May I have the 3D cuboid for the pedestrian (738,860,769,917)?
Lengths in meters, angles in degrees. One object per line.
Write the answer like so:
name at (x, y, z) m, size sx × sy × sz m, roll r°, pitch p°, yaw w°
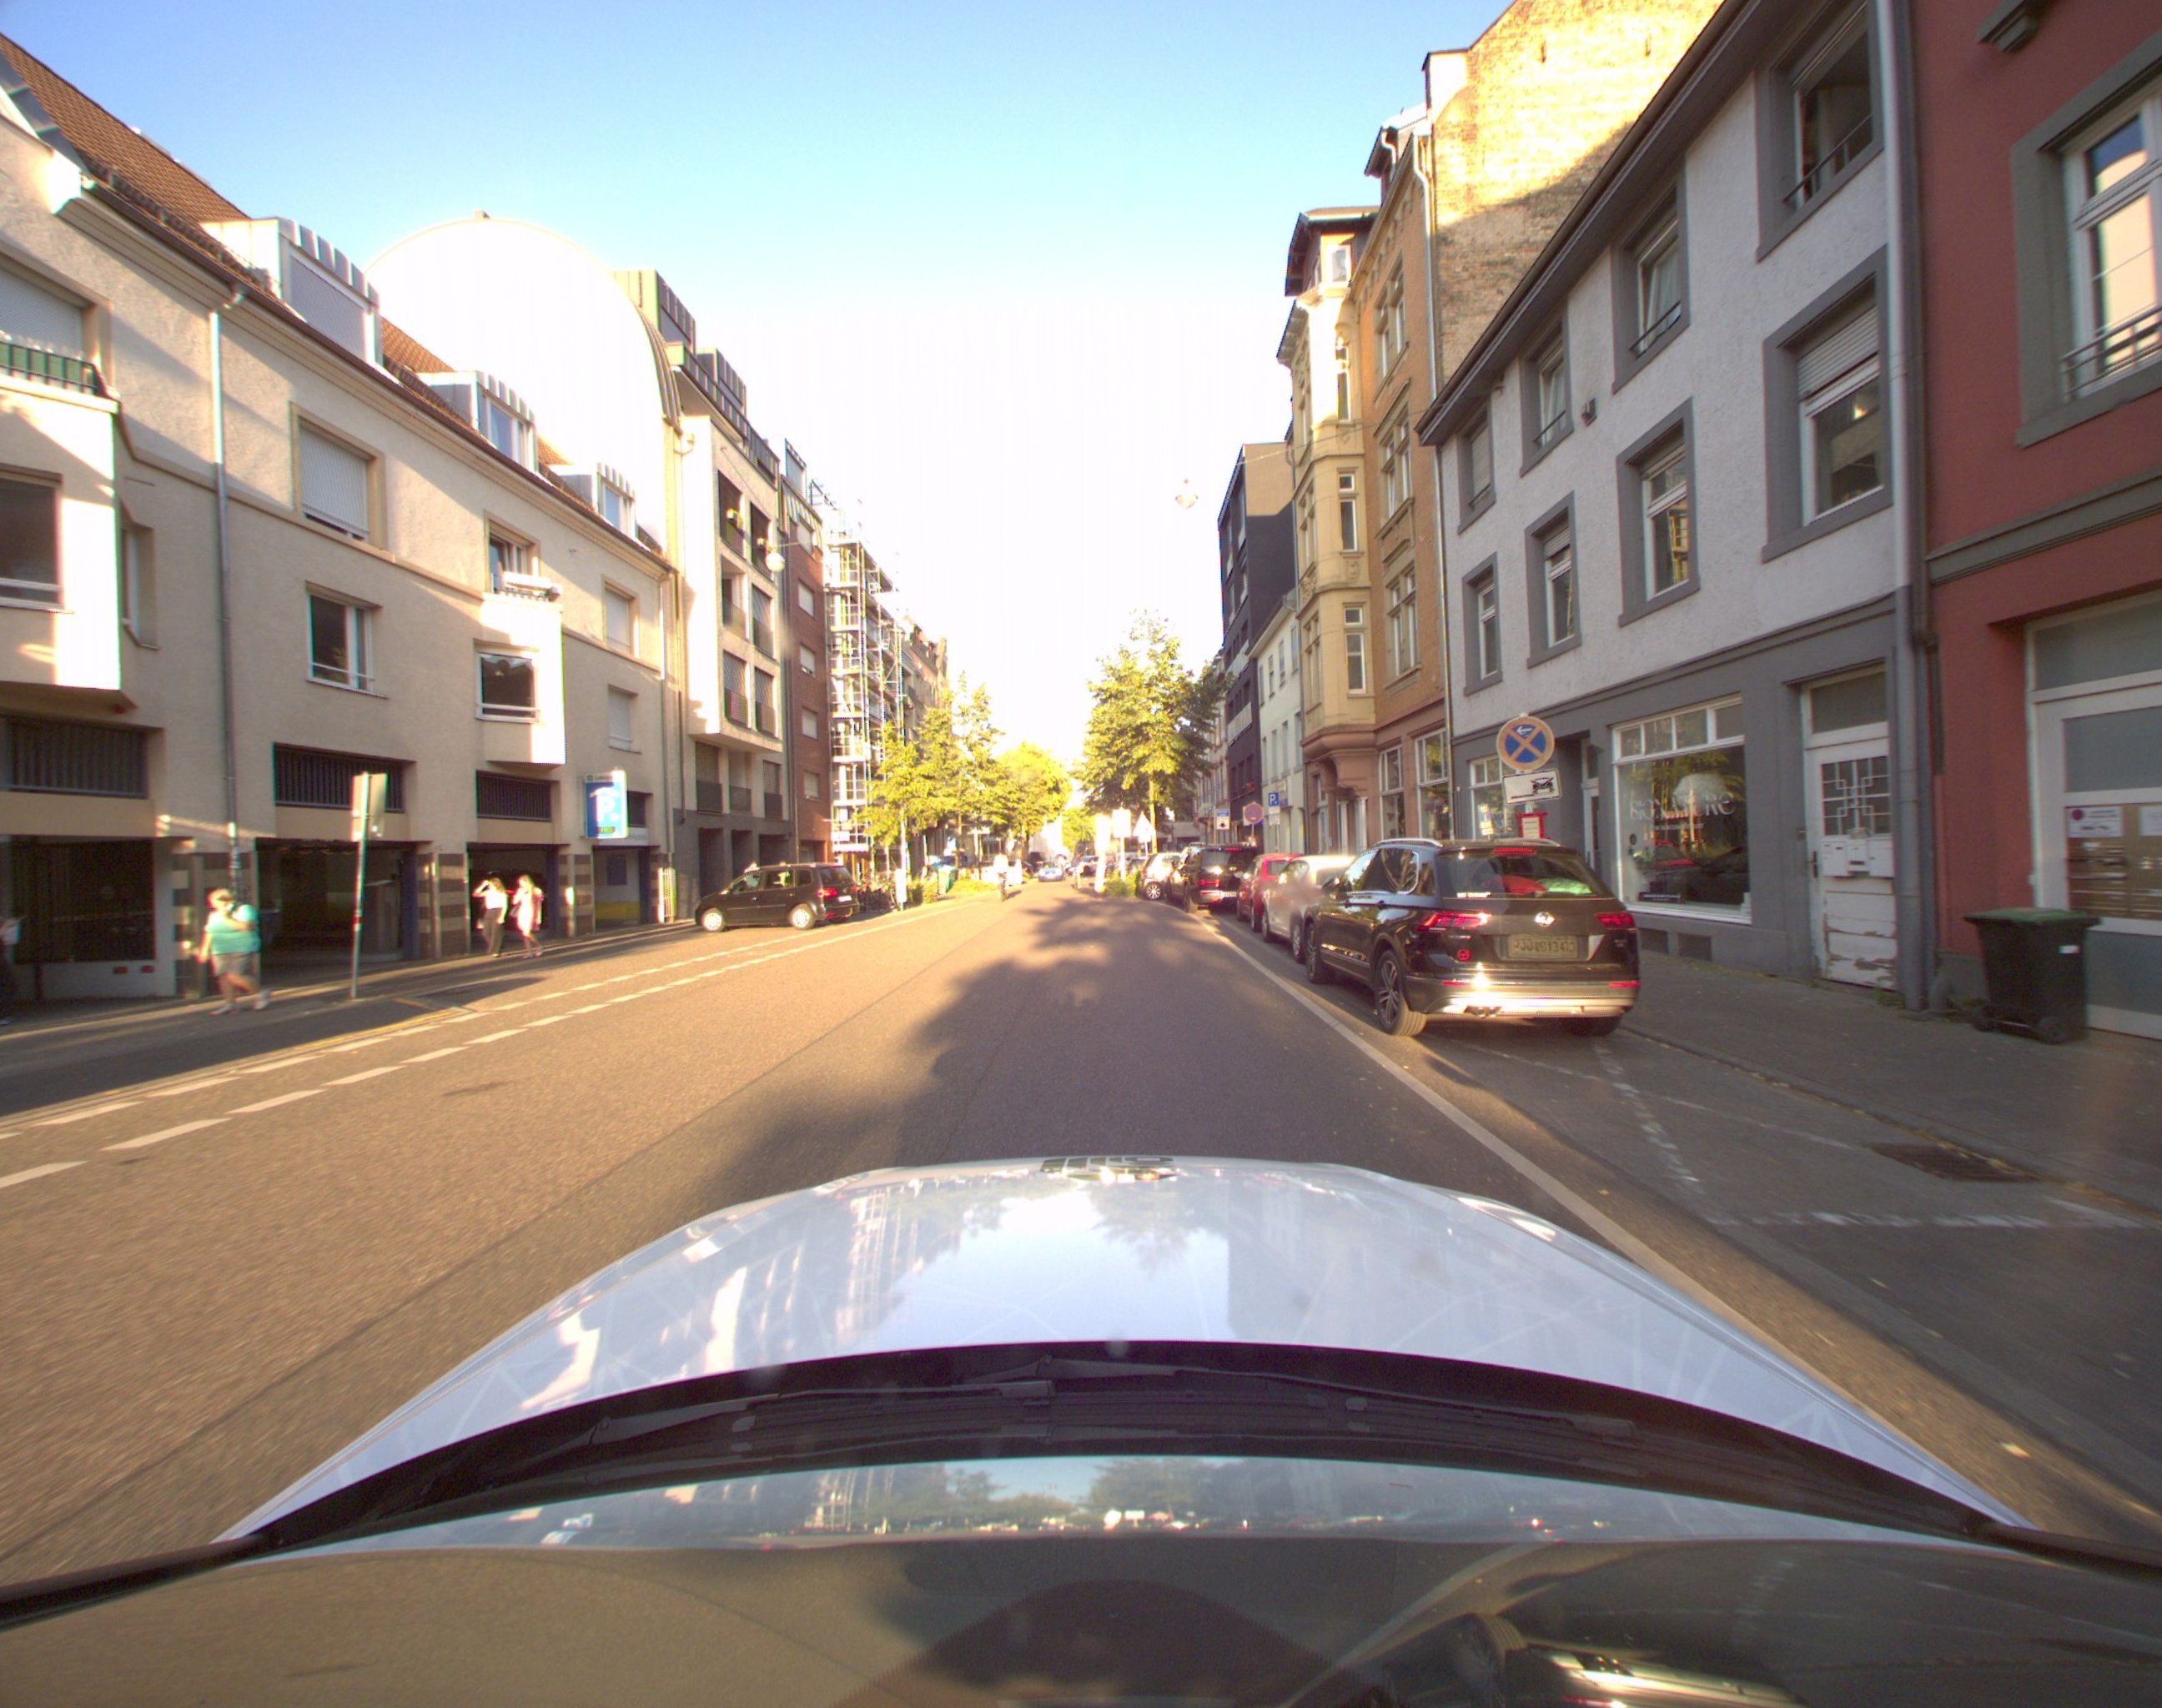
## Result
pedestrian at (-10.244, 1.064, 25.499) m, size 0.716 × 1.767 × 0.692 m, roll -1°, pitch -1°, yaw -6°

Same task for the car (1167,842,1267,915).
car at (3.455, 0.607, 21.443) m, size 1.819 × 1.695 × 4.366 m, roll -1°, pitch -1°, yaw -1°

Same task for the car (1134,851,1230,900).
car at (3.334, 0.705, 27.120) m, size 2.961 × 1.536 × 1.432 m, roll -1°, pitch -1°, yaw -3°

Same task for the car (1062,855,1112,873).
car at (0.544, 0.814, 67.883) m, size 1.866 × 1.480 × 4.487 m, roll -1°, pitch -1°, yaw 35°

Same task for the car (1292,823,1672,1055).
car at (3.454, 0.644, 8.027) m, size 1.804 × 1.668 × 4.208 m, roll -1°, pitch -1°, yaw 2°

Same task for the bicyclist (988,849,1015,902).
bicyclist at (-2.842, 0.766, 29.129) m, size 0.778 × 1.829 × 1.007 m, roll -3°, pitch -1°, yaw -1°

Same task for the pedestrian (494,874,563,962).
pedestrian at (-10.688, 1.224, 15.788) m, size 0.713 × 1.641 × 0.856 m, roll -1°, pitch -1°, yaw 6°

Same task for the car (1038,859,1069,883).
car at (-1.829, 1.130, 54.600) m, size 1.832 × 1.441 × 4.331 m, roll -2°, pitch 0°, yaw 0°

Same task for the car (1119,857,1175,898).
car at (2.836, 0.983, 35.975) m, size 1.988 × 1.668 × 4.507 m, roll -1°, pitch -1°, yaw -1°

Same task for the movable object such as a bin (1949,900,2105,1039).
movable object such as a bin at (6.925, 0.830, 5.982) m, size 0.551 × 0.938 × 0.485 m, roll -2°, pitch -1°, yaw 0°

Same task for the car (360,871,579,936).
car at (-16.393, 1.291, 21.972) m, size 4.474 × 1.602 × 2.002 m, roll -1°, pitch -1°, yaw 4°

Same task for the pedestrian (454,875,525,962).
pedestrian at (-11.527, 1.233, 15.887) m, size 0.713 × 1.641 × 0.856 m, roll -1°, pitch -1°, yaw 6°

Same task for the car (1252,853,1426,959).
car at (3.822, 0.714, 12.725) m, size 1.660 × 1.378 × 3.805 m, roll -1°, pitch -1°, yaw 2°

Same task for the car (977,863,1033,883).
car at (-5.856, 1.473, 63.336) m, size 4.085 × 1.466 × 1.891 m, roll -1°, pitch -1°, yaw 3°

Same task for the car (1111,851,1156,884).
car at (3.093, 0.792, 49.276) m, size 2.259 × 1.766 × 4.507 m, roll 4°, pitch -1°, yaw -1°

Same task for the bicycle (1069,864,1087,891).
bicycle at (-0.138, 1.066, 38.049) m, size 0.778 × 1.204 × 2.020 m, roll -3°, pitch -1°, yaw 0°

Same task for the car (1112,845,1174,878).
car at (4.187, 0.481, 54.650) m, size 3.967 × 2.013 × 2.003 m, roll -2°, pitch 0°, yaw 6°

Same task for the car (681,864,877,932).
car at (-7.877, 1.141, 21.349) m, size 4.460 × 1.602 × 2.009 m, roll -2°, pitch -1°, yaw 17°

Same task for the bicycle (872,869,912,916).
bicycle at (-6.009, 1.194, 26.106) m, size 0.843 × 1.351 × 3.179 m, roll -2°, pitch -1°, yaw -6°

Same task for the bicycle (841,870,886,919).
bicycle at (-6.899, 1.249, 25.990) m, size 0.892 × 1.395 × 3.159 m, roll -2°, pitch -1°, yaw -6°

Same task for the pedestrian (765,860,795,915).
pedestrian at (-9.722, 1.060, 26.308) m, size 0.716 × 1.740 × 0.737 m, roll -1°, pitch -1°, yaw -6°

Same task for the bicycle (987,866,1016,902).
bicycle at (-2.827, 1.046, 29.198) m, size 0.778 × 1.204 × 2.020 m, roll -3°, pitch -1°, yaw 0°

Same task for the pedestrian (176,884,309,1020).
pedestrian at (-10.744, 1.217, 10.478) m, size 0.714 × 1.641 × 0.951 m, roll -1°, pitch -1°, yaw -1°

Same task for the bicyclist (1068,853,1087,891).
bicyclist at (-0.170, 0.825, 38.014) m, size 0.778 × 1.696 × 1.007 m, roll -3°, pitch -1°, yaw -1°

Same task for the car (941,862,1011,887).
car at (-6.643, 1.284, 51.649) m, size 4.085 × 1.466 × 1.891 m, roll -1°, pitch -1°, yaw 3°

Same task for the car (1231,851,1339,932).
car at (4.093, 0.713, 16.780) m, size 1.580 × 1.483 × 3.269 m, roll -1°, pitch -1°, yaw 4°

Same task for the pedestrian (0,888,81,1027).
pedestrian at (-13.141, 1.244, 9.973) m, size 0.713 × 1.616 × 0.856 m, roll -1°, pitch -1°, yaw 4°
